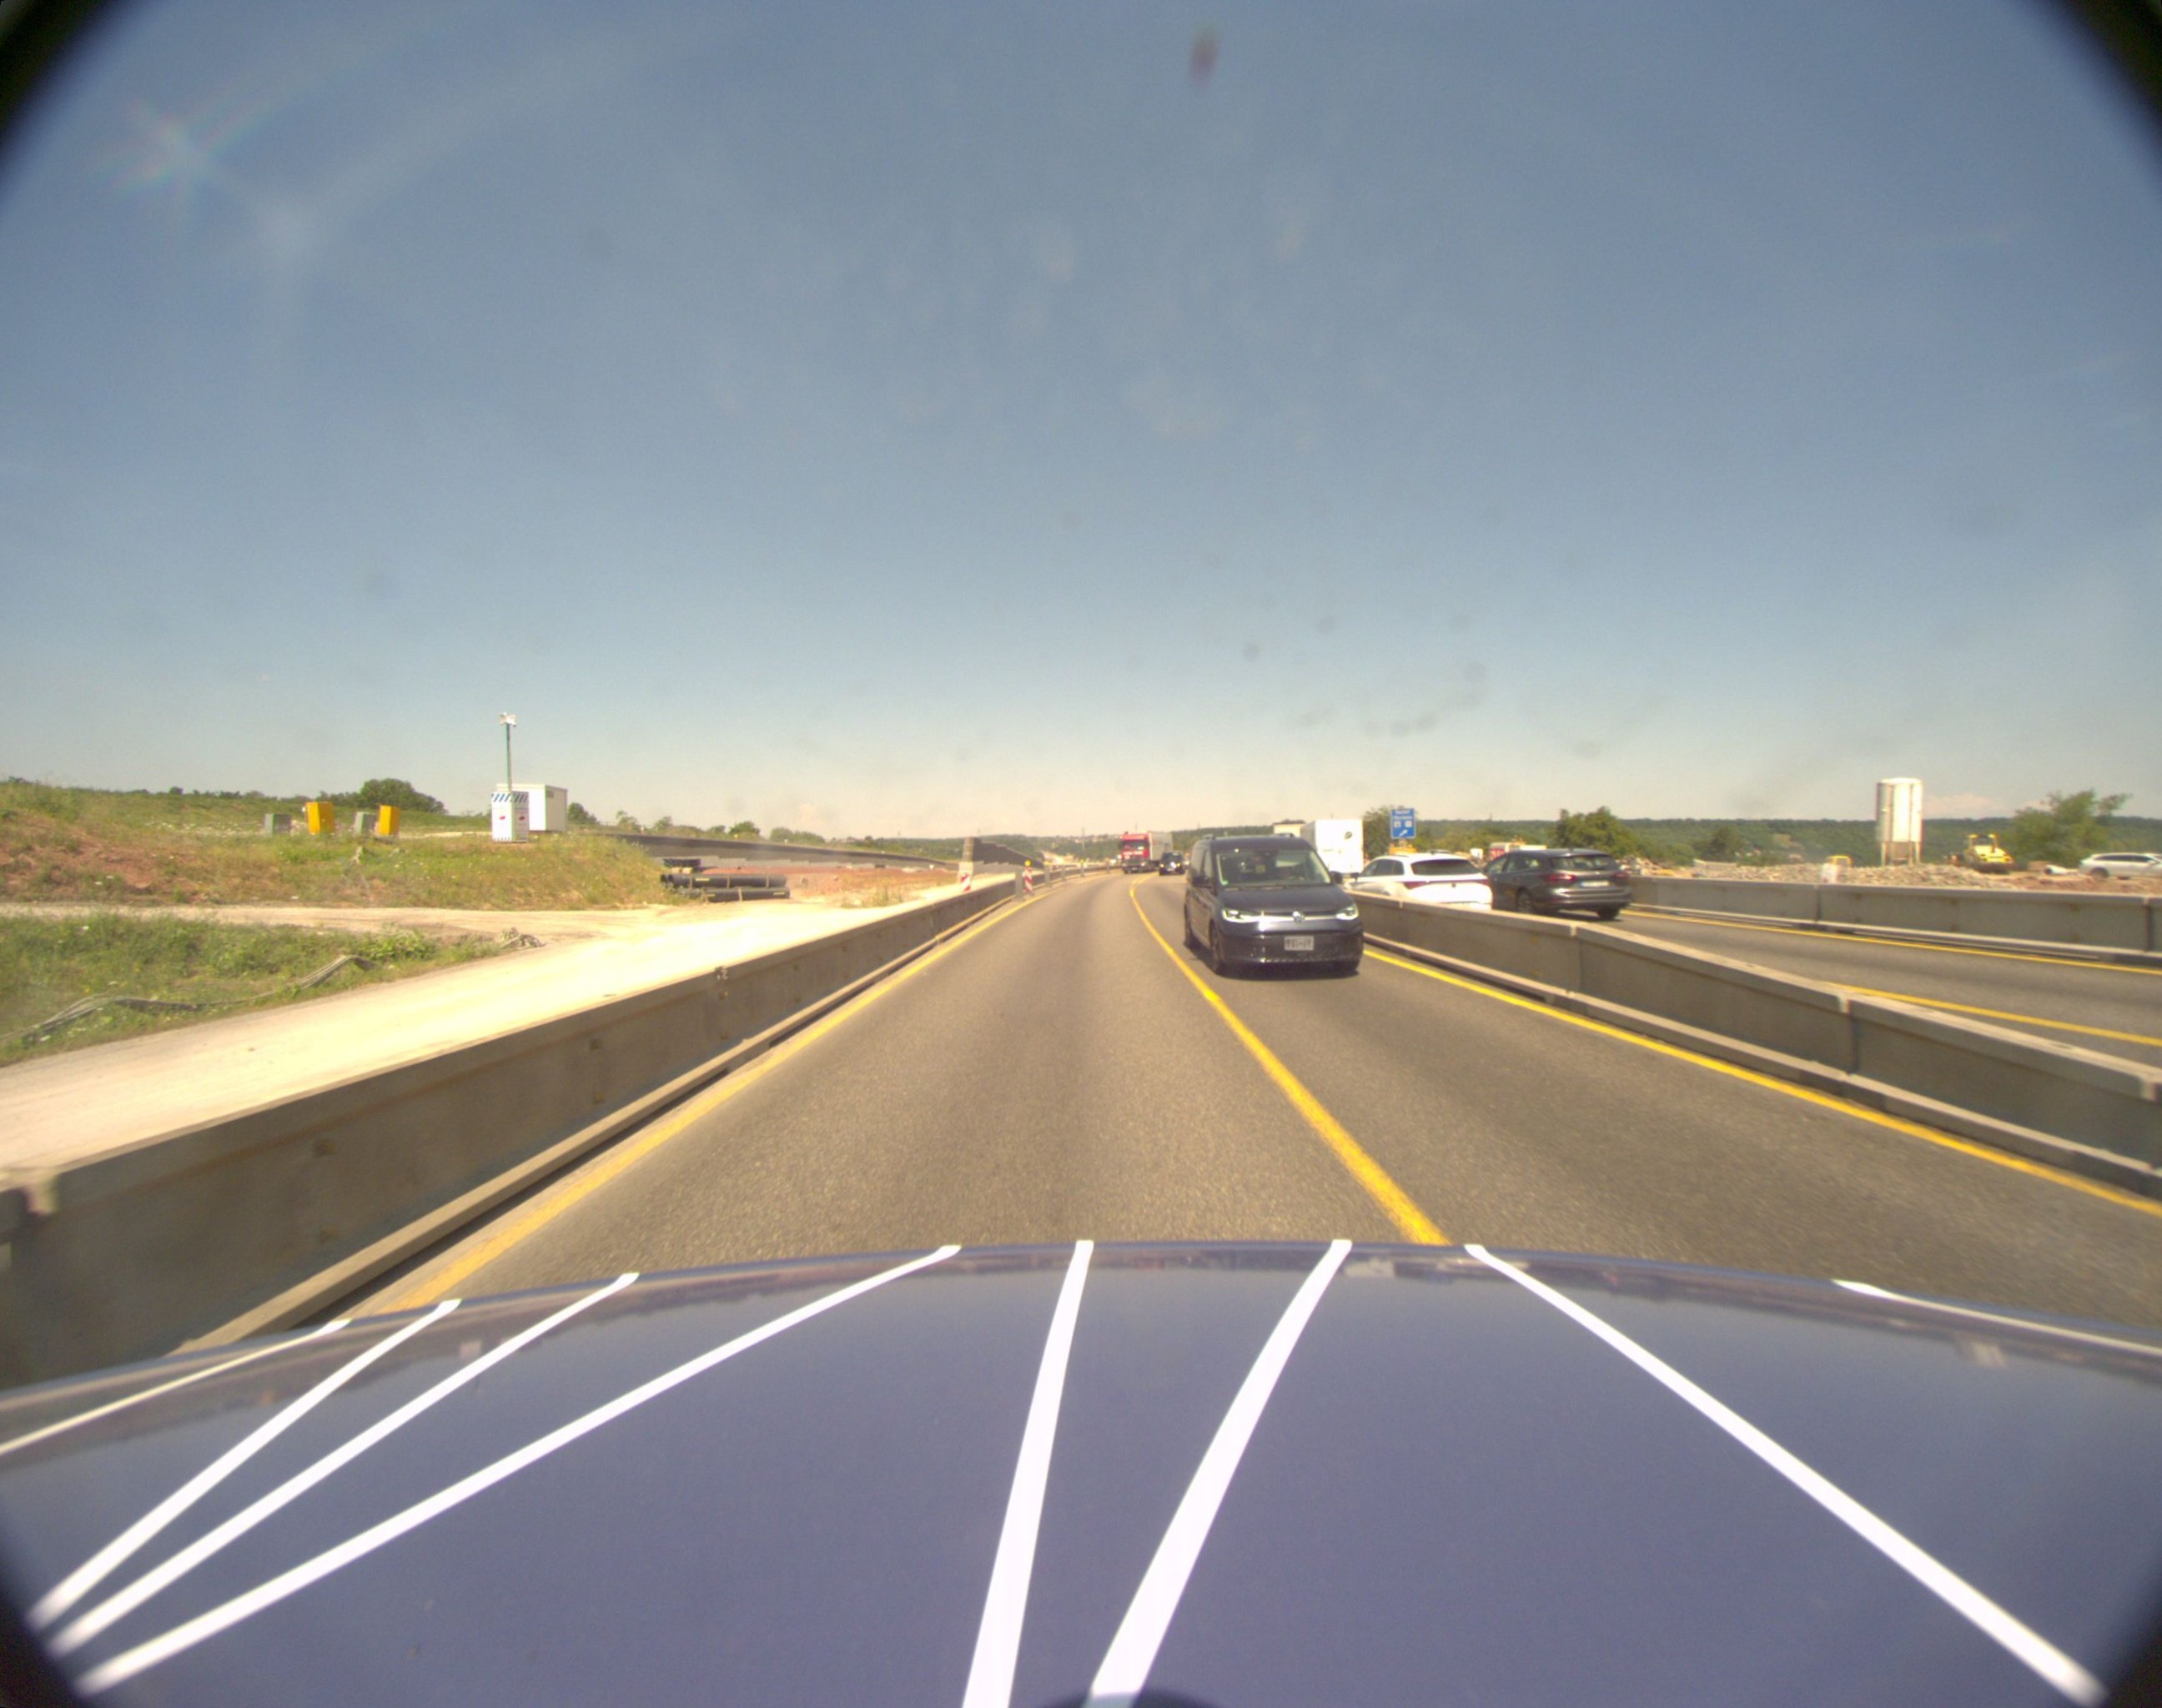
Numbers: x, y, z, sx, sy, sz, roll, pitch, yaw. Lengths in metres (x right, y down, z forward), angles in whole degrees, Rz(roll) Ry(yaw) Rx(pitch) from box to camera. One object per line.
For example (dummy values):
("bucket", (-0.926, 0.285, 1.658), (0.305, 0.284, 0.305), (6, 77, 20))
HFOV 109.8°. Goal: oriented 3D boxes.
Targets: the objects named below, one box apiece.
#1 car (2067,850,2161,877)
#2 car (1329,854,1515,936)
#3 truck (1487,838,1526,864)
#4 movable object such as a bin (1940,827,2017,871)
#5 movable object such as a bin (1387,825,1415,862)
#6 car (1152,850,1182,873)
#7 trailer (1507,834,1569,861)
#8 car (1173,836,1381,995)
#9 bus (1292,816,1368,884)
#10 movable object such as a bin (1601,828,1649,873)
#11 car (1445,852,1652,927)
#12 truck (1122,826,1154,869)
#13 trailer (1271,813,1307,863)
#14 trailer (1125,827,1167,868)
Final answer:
("car", (56.251, 0.492, 40.457), (1.616, 1.401, 4.445), (-1, 0, -2))
("car", (6.831, 0.730, 15.865), (1.820, 1.447, 4.634), (-1, 0, 0))
("truck", (52.386, -0.369, 93.579), (2.347, 3.025, 4.264), (-1, 0, -1))
("movable object such as a bin", (67.122, -0.342, 56.921), (1.995, 3.122, 4.493), (-1, 0, 24))
("movable object such as a bin", (38.965, -1.216, 92.540), (2.926, 4.304, 9.341), (-1, 0, 23))
("car", (6.951, 0.621, 61.782), (1.799, 1.776, 3.999), (-1, 0, -2))
("trailer", (53.289, -0.737, 88.695), (5.578, 2.979, 2.883), (-1, 0, -2))
("car", (2.545, 0.703, 11.091), (1.925, 1.779, 4.603), (-2, 0, 2))
("bus", (12.635, -0.193, 39.123), (2.354, 3.107, 7.232), (-1, 0, 7))
("movable object such as a bin", (39.319, -0.238, 54.982), (1.995, 3.122, 4.284), (-1, 0, 24))
("car", (10.026, 0.679, 16.812), (1.826, 1.415, 4.647), (-1, 0, 1))
("truck", (5.489, -0.582, 72.524), (2.625, 3.880, 4.937), (-1, 0, 9))
("trailer", (18.971, -1.355, 69.192), (2.763, 4.090, 13.994), (-1, 0, 16))
("trailer", (6.876, -0.645, 79.045), (2.699, 3.852, 12.434), (-1, 0, 12))
